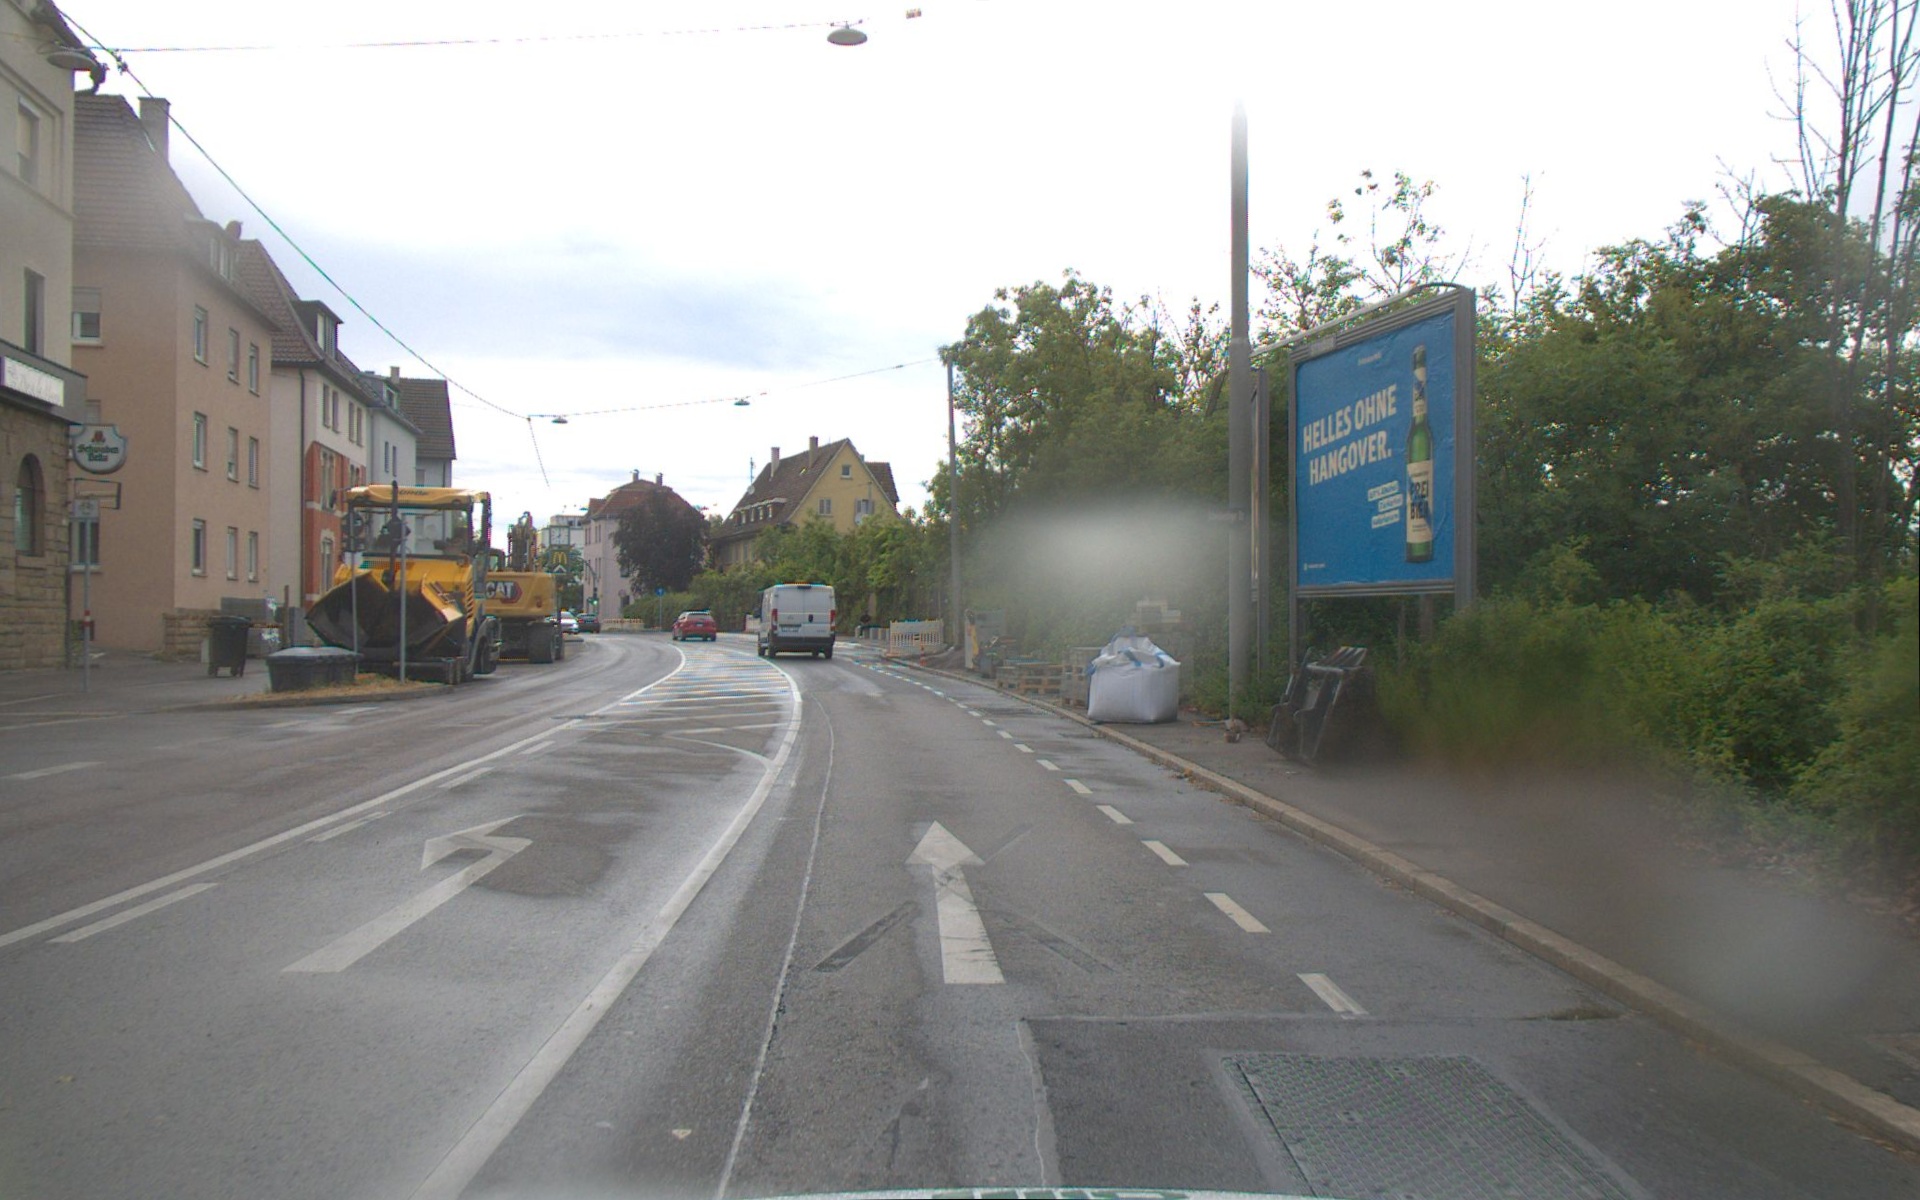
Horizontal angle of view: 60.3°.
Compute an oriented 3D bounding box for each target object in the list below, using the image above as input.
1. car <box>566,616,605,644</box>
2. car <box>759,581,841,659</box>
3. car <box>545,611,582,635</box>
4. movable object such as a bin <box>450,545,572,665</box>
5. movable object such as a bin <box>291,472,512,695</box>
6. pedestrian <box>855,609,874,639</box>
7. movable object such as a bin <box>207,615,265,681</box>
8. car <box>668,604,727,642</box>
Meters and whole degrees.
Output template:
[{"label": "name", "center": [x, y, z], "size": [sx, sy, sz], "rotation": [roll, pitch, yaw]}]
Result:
[{"label": "car", "center": [-27.671, 2.191, 122.048], "size": [2.205, 1.836, 4.686], "rotation": [1, 1, -20]}, {"label": "car", "center": [-5.152, 0.581, 52.750], "size": [2.197, 2.251, 4.703], "rotation": [1, 1, -10]}, {"label": "car", "center": [-26.465, 1.542, 110.273], "size": [1.900, 1.583, 4.592], "rotation": [2, -2, -20]}, {"label": "movable object such as a bin", "center": [-12.817, 0.089, 47.511], "size": [2.818, 3.228, 4.118], "rotation": [1, 1, -9]}, {"label": "movable object such as a bin", "center": [-10.822, -0.358, 32.650], "size": [2.720, 3.922, 5.982], "rotation": [1, 1, -5]}, {"label": "pedestrian", "center": [-4.667, 1.160, 80.870], "size": [0.862, 1.391, 1.064], "rotation": [1, 1, -7]}, {"label": "movable object such as a bin", "center": [-14.548, 0.946, 33.229], "size": [0.882, 1.243, 1.190], "rotation": [1, 1, -33]}, {"label": "car", "center": [-13.178, 1.113, 82.869], "size": [2.203, 1.685, 4.689], "rotation": [1, 1, -18]}]
